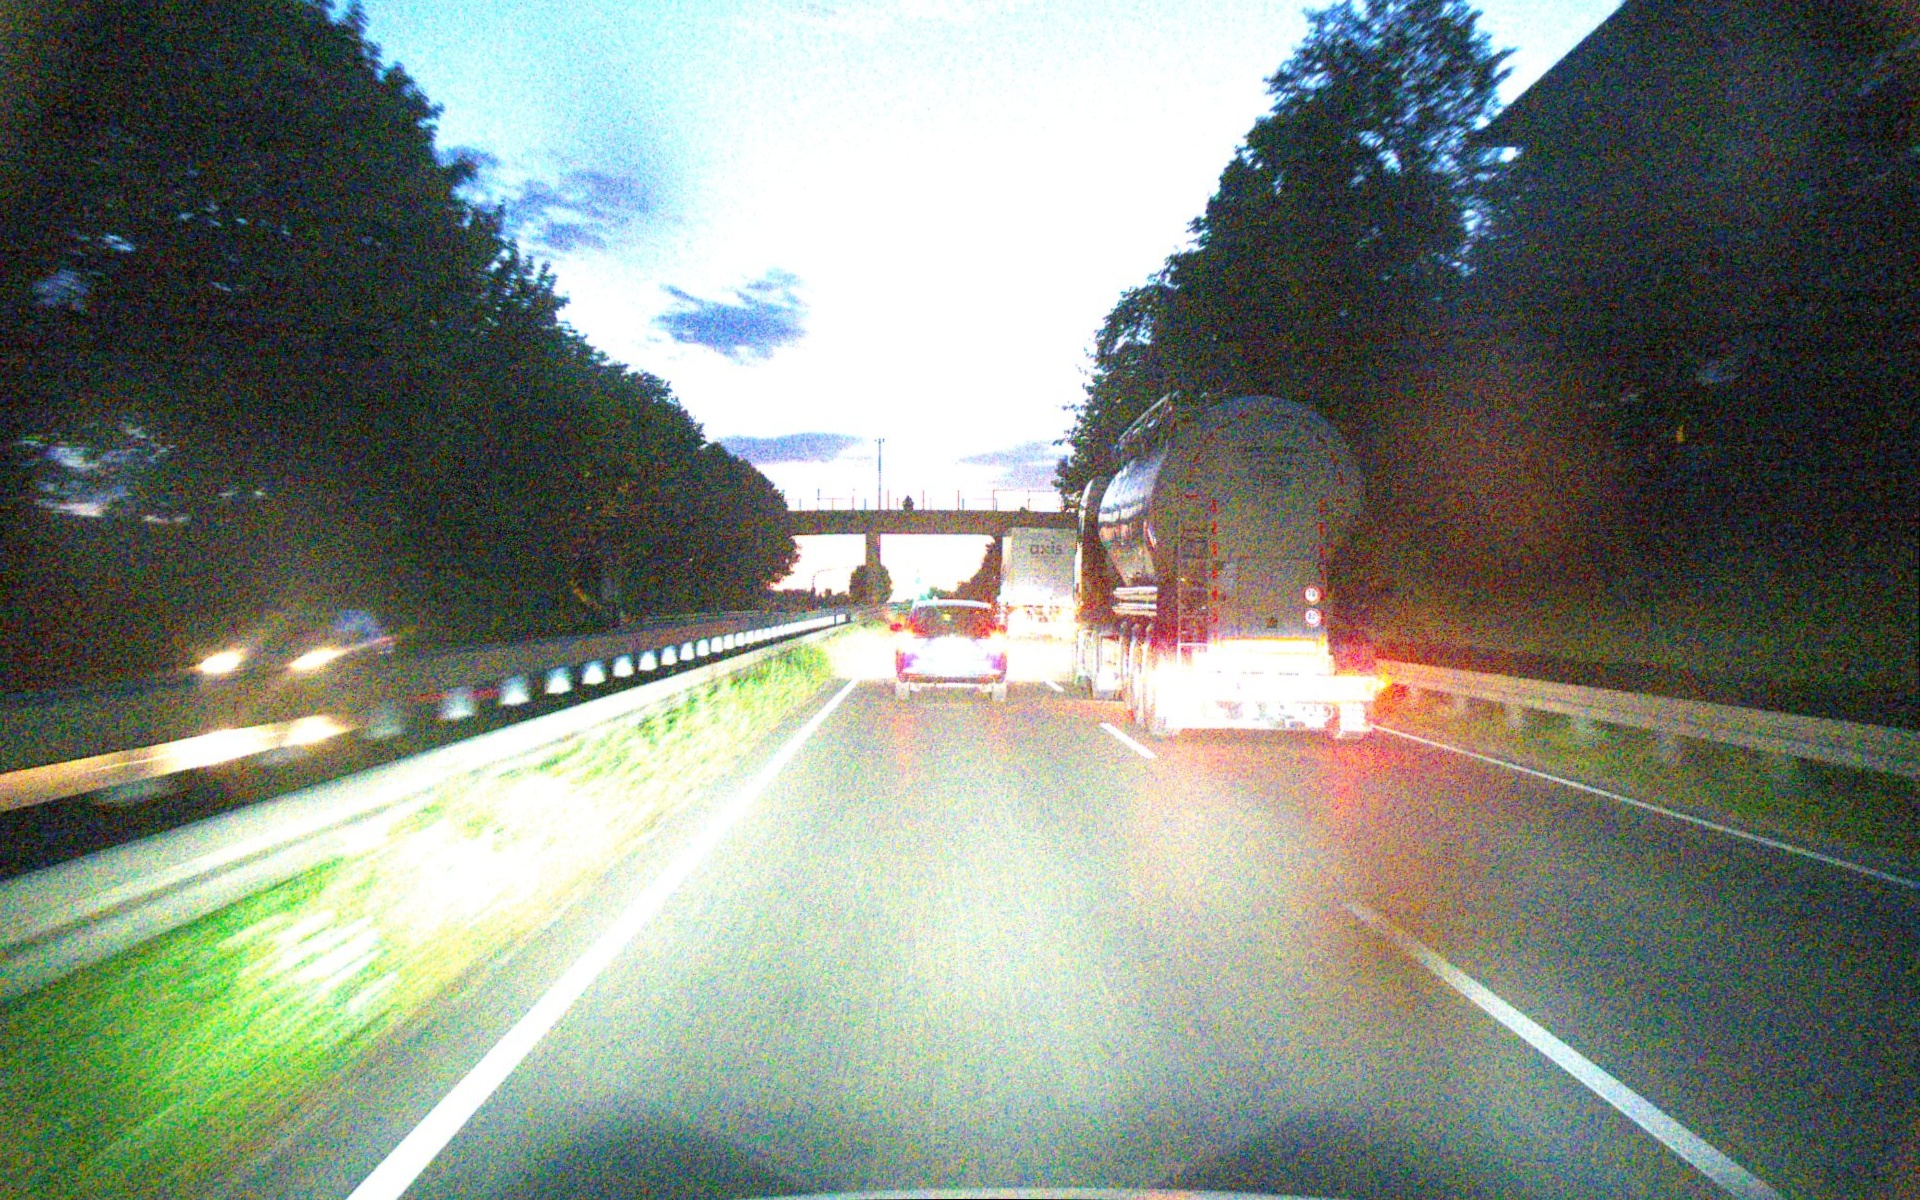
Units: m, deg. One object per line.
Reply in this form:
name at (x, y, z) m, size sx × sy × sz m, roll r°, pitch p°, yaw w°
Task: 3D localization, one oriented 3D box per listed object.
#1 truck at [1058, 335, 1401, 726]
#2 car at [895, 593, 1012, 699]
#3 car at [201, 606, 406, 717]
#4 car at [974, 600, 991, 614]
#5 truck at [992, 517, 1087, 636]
truck at (3.313, -0.717, 24.475) m, size 2.633 × 4.178 × 13.137 m, roll 1°, pitch 0°, yaw -1°
car at (-0.128, 0.669, 25.597) m, size 1.661 × 1.478 × 3.913 m, roll 1°, pitch 0°, yaw -1°
car at (-9.822, 0.871, 25.046) m, size 1.584 × 1.533 × 3.868 m, roll 1°, pitch 0°, yaw -1°
car at (2.415, 0.747, 175.712) m, size 1.661 × 1.478 × 3.913 m, roll 1°, pitch 0°, yaw -1°
truck at (2.957, -0.801, 65.071) m, size 2.824 × 4.178 × 12.680 m, roll 1°, pitch 0°, yaw -1°
